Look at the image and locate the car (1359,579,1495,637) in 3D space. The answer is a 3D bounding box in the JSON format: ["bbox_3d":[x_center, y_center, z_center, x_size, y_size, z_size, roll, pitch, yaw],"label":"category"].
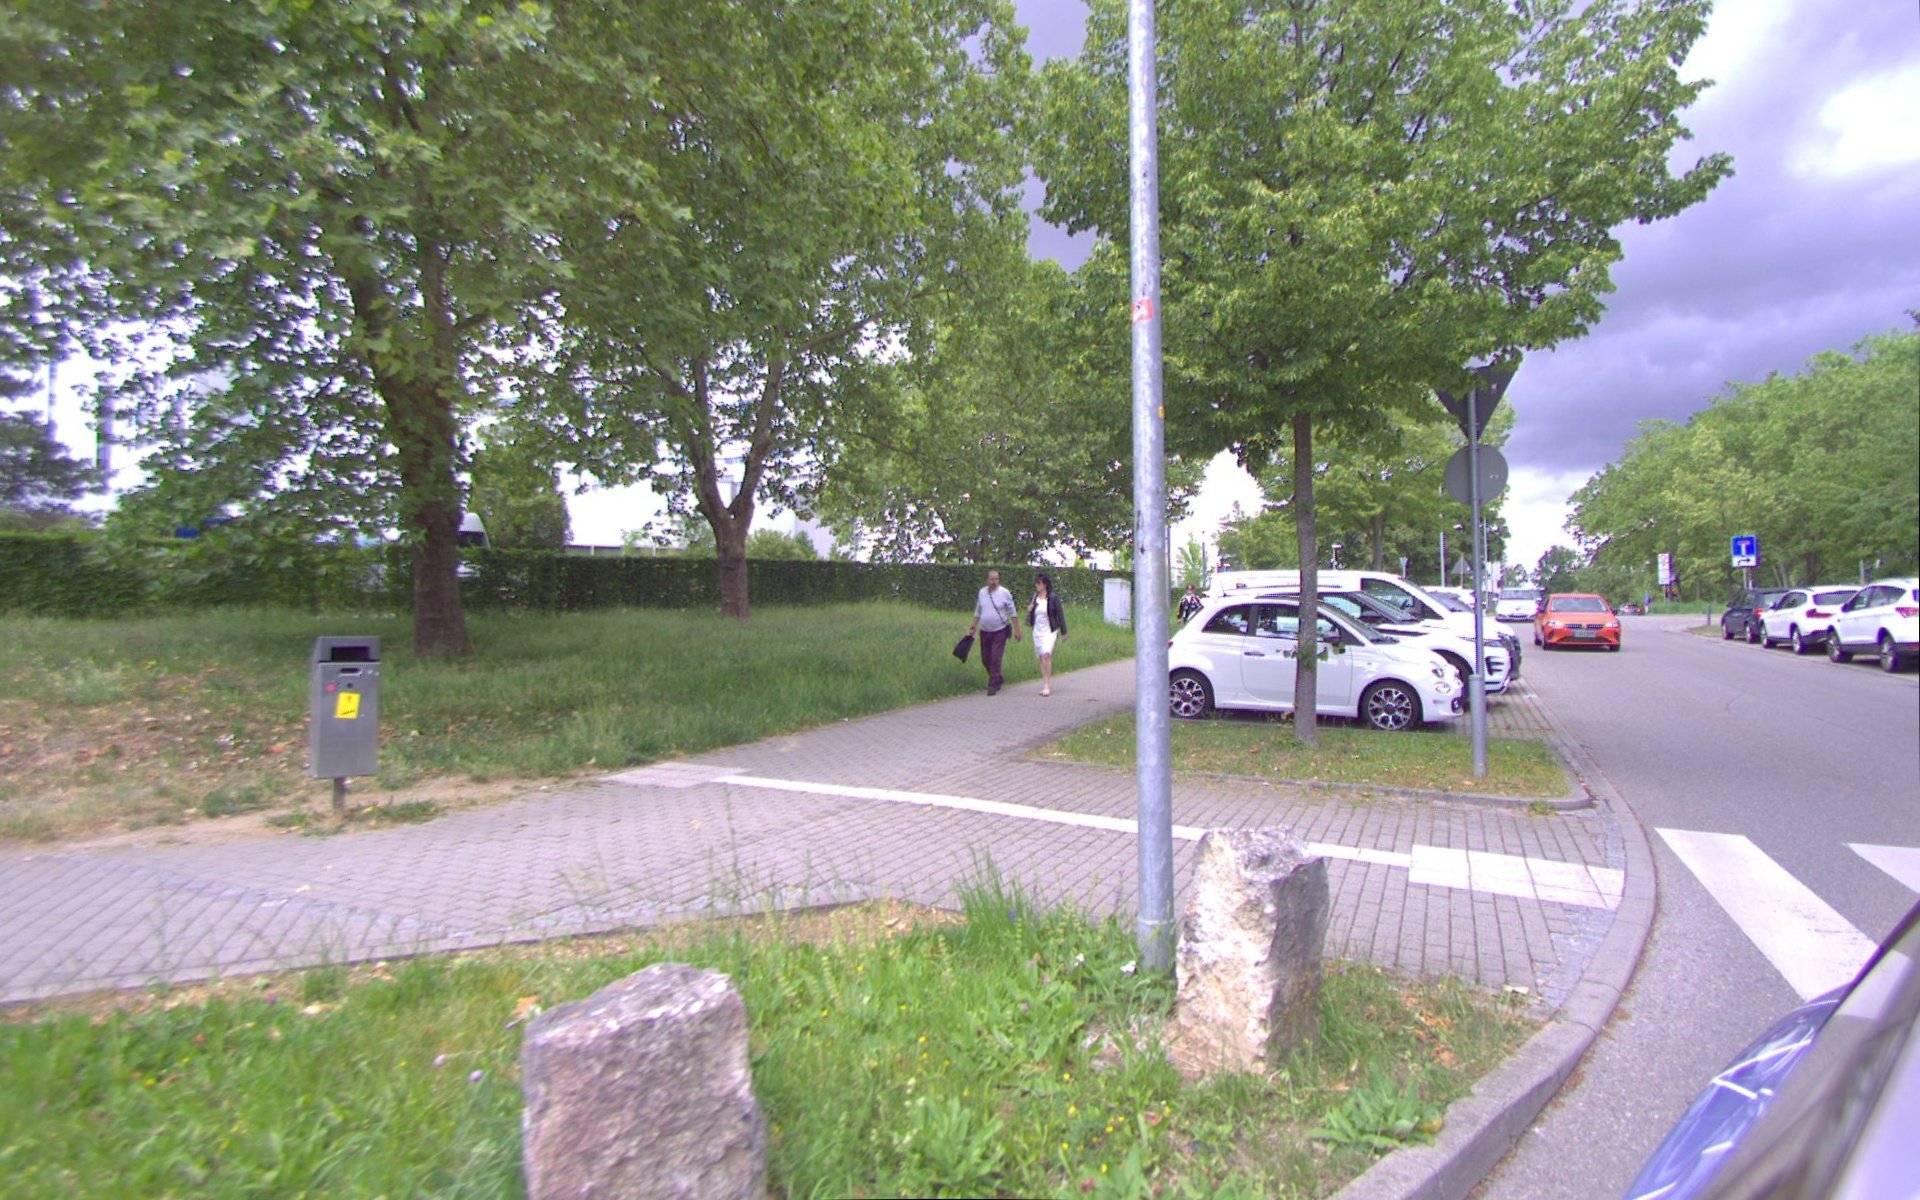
[{"bbox_3d":[14.243,0.194,30.901,3.650,1.667,1.832,1,0,30],"label":"car"}]

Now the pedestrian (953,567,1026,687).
[{"bbox_3d":[0.433,0.379,14.592,0.863,1.678,0.587,-2,-1,26],"label":"pedestrian"}]

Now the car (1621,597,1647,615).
[{"bbox_3d":[59.944,0.542,90.078,1.746,1.535,3.954,-2,-1,32],"label":"car"}]

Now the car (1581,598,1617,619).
[{"bbox_3d":[54.740,0.683,86.777,1.881,1.602,4.135,4,2,23],"label":"car"}]

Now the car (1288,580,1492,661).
[{"bbox_3d":[9.050,0.363,21.377,3.800,1.539,1.894,1,1,27],"label":"car"}]

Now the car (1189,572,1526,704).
[{"bbox_3d":[5.458,0.510,14.130,4.122,1.623,1.723,-1,-1,27],"label":"car"}]

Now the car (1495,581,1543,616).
[{"bbox_3d":[26.161,-0.061,47.317,1.746,1.535,3.955,-2,-1,32],"label":"car"}]

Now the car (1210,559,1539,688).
[{"bbox_3d":[6.681,0.287,16.526,4.747,1.854,1.824,1,1,29],"label":"car"}]

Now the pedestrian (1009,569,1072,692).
[{"bbox_3d":[1.138,0.422,14.230,0.684,1.678,0.594,-2,-1,26],"label":"pedestrian"}]

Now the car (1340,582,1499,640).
[{"bbox_3d":[13.045,0.321,28.826,3.960,1.538,1.867,-1,0,27],"label":"car"}]

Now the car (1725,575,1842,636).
[{"bbox_3d":[23.069,0.159,28.509,1.679,1.507,3.915,-4,-2,27],"label":"car"}]

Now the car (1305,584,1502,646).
[{"bbox_3d":[11.466,0.351,26.374,4.541,1.511,1.935,0,1,25],"label":"car"}]

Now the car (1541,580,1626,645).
[{"bbox_3d":[16.496,0.291,26.811,1.746,1.534,3.955,-2,1,32],"label":"car"}]

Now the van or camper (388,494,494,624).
[{"bbox_3d":[-12.503,-0.873,24.551,2.072,2.834,4.486,-1,-1,-26],"label":"van or camper"}]

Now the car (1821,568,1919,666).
[{"bbox_3d":[18.257,0.241,19.202,1.795,1.686,4.395,-4,-2,27],"label":"car"}]

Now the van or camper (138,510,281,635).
[{"bbox_3d":[-18.724,-0.610,25.478,2.072,2.834,4.486,-1,-1,-26],"label":"van or camper"}]

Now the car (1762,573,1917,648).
[{"bbox_3d":[20.656,0.238,23.969,1.678,1.531,4.190,-4,-2,27],"label":"car"}]

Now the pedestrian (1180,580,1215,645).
[{"bbox_3d":[5.688,0.296,24.248,0.671,1.539,0.700,-2,-1,25],"label":"pedestrian"}]

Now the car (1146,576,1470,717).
[{"bbox_3d":[4.195,0.499,12.228,3.489,1.480,1.722,0,0,28],"label":"car"}]
